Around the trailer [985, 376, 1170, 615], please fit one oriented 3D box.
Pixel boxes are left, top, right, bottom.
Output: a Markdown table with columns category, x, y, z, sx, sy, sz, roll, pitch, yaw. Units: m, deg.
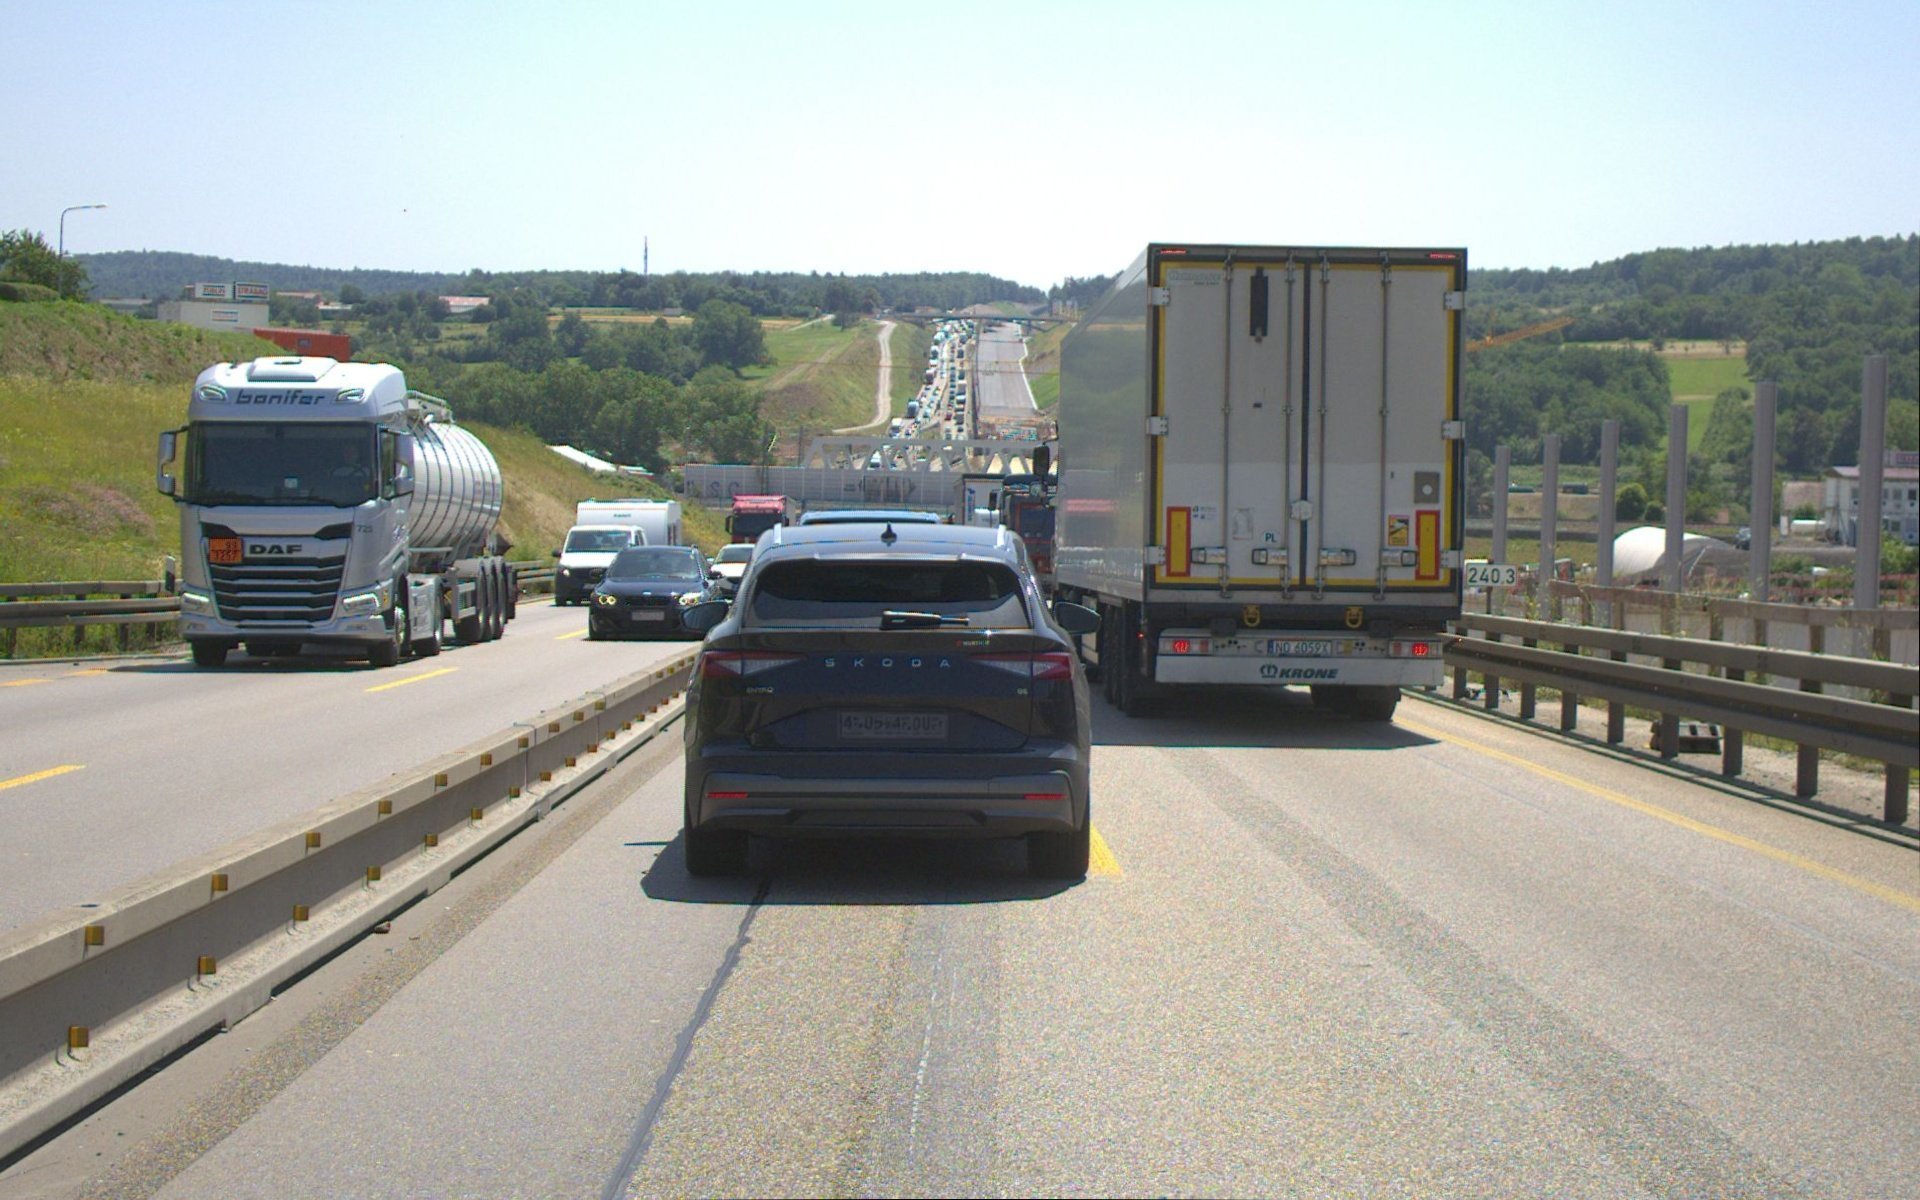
| category | x | y | z | sx | sy | sz | roll | pitch | yaw |
| --- | --- | --- | --- | --- | --- | --- | --- | --- | --- |
| trailer | 2.297 | -1.976 | 72.945 | 3.180 | 4.498 | 14.967 | 1 | 0 | -1 |

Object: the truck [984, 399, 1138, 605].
| category | x | y | z | sx | sy | sz | roll | pitch | yaw |
| --- | --- | --- | --- | --- | --- | --- | --- | --- | --- |
| truck | 2.249 | -2.159 | 79.991 | 3.180 | 4.498 | 8.165 | 1 | 0 | -1 |

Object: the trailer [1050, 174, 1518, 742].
| category | x | y | z | sx | sy | sz | roll | pitch | yaw |
| --- | --- | --- | --- | --- | --- | --- | --- | --- | --- |
| trailer | 2.763 | -1.282 | 34.073 | 3.180 | 4.497 | 13.109 | 1 | 1 | -1 |

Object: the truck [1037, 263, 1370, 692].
| category | x | y | z | sx | sy | sz | roll | pitch | yaw |
| --- | --- | --- | --- | --- | --- | --- | --- | --- | --- |
| truck | 2.671 | -1.394 | 40.552 | 3.180 | 4.497 | 8.166 | 1 | 1 | -1 |

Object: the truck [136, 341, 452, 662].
| category | x | y | z | sx | sy | sz | roll | pitch | yaw |
| --- | --- | --- | --- | --- | --- | --- | --- | --- | --- |
| truck | -8.134 | -1.192 | 42.735 | 2.779 | 3.660 | 6.278 | 1 | 1 | -1 |

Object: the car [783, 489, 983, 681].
| category | x | y | z | sx | sy | sz | roll | pitch | yaw |
| --- | --- | --- | --- | --- | --- | --- | --- | --- | --- |
| car | -0.815 | -0.146 | 37.077 | 1.993 | 1.919 | 4.508 | 1 | 0 | -1 |

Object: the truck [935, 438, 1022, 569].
| category | x | y | z | sx | sy | sz | roll | pitch | yaw |
| --- | --- | --- | --- | --- | --- | --- | --- | --- | --- |
| truck | 0.607 | -3.484 | 127.875 | 2.852 | 4.450 | 11.918 | 1 | 0 | -1 |

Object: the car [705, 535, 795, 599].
| category | x | y | z | sx | sy | sz | roll | pitch | yaw |
| --- | --- | --- | --- | --- | --- | --- | --- | --- | --- |
| car | -4.976 | -0.807 | 81.995 | 1.912 | 1.475 | 4.637 | 1 | 1 | -1 |

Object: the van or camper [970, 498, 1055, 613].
| category | x | y | z | sx | sy | sz | roll | pitch | yaw |
| --- | --- | --- | --- | --- | --- | --- | --- | --- | --- |
| van or camper | 1.579 | -1.252 | 101.676 | 2.389 | 3.269 | 6.468 | 1 | 0 | 1 |

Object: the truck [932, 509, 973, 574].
| category | x | y | z | sx | sy | sz | roll | pitch | yaw |
| --- | --- | --- | --- | --- | --- | --- | --- | --- | --- |
| truck | -0.525 | -3.913 | 231.762 | 2.640 | 4.179 | 9.284 | 1 | 0 | -1 |

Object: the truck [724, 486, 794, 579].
| category | x | y | z | sx | sy | sz | roll | pitch | yaw |
| --- | --- | --- | --- | --- | --- | --- | --- | --- | --- |
| truck | -9.571 | -3.150 | 164.635 | 2.852 | 4.125 | 11.918 | 1 | 0 | -1 |

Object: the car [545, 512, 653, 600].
| category | x | y | z | sx | sy | sz | roll | pitch | yaw |
| --- | --- | --- | --- | --- | --- | --- | --- | --- | --- |
| car | -8.421 | -1.052 | 80.646 | 1.993 | 1.964 | 5.343 | 1 | 1 | 0 |

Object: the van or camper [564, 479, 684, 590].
| category | x | y | z | sx | sy | sz | roll | pitch | yaw |
| --- | --- | --- | --- | --- | --- | --- | --- | --- | --- |
| van or camper | -8.461 | -1.669 | 87.227 | 2.357 | 2.667 | 7.858 | 1 | 1 | -1 |

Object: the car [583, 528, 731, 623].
| category | x | y | z | sx | sy | sz | roll | pitch | yaw |
| --- | --- | --- | --- | --- | --- | --- | --- | --- | --- |
| car | -4.679 | -0.408 | 53.700 | 1.895 | 1.409 | 4.679 | 0 | 1 | 0 |

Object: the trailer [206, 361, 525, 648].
| category | x | y | z | sx | sy | sz | roll | pitch | yaw |
| --- | --- | --- | --- | --- | --- | --- | --- | --- | --- |
| trailer | -8.237 | -1.313 | 49.226 | 2.716 | 3.581 | 11.796 | 1 | 1 | -1 |

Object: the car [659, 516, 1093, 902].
| category | x | y | z | sx | sy | sz | roll | pitch | yaw |
| --- | --- | --- | --- | --- | --- | --- | --- | --- | --- |
| car | -0.353 | 0.443 | 16.462 | 1.802 | 1.602 | 4.000 | 1 | 0 | 0 |
